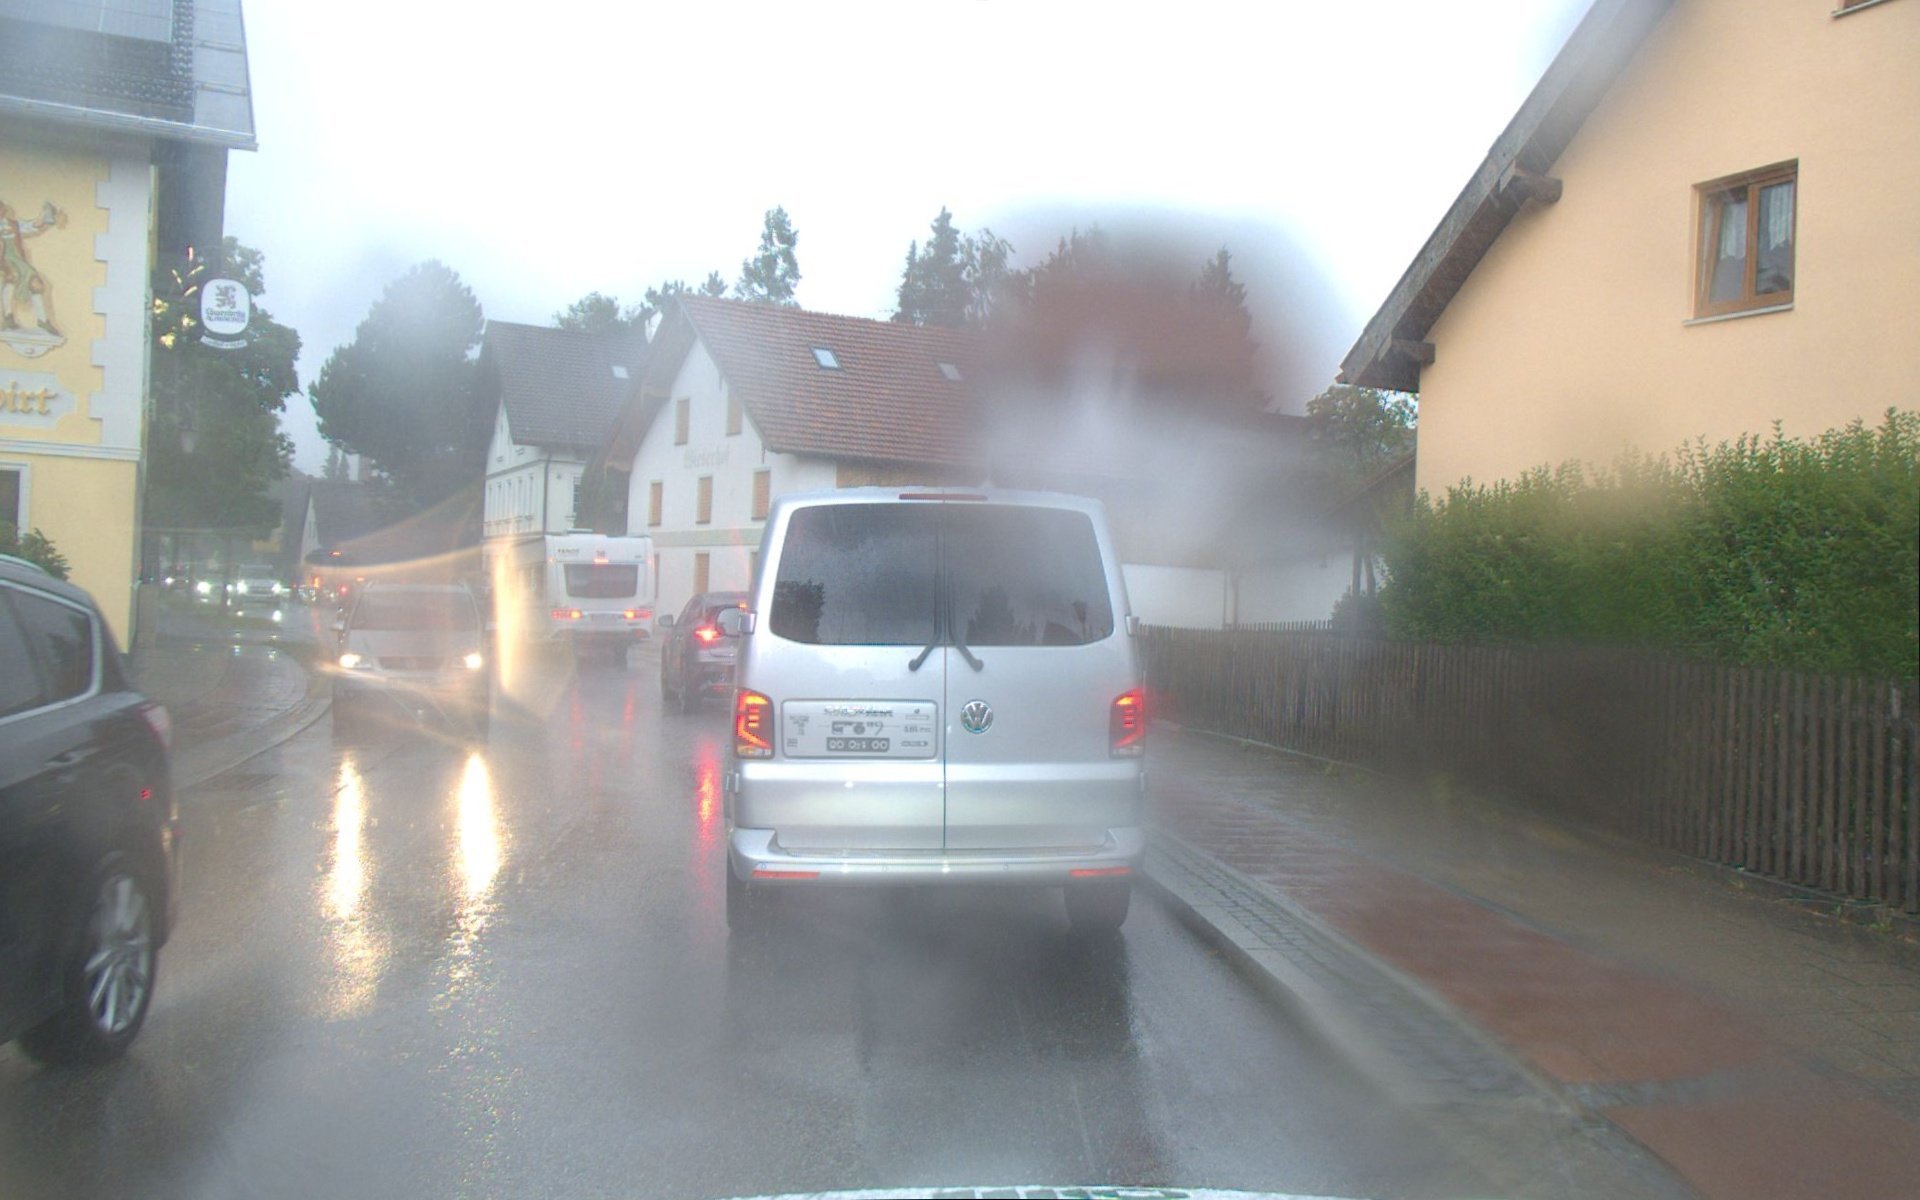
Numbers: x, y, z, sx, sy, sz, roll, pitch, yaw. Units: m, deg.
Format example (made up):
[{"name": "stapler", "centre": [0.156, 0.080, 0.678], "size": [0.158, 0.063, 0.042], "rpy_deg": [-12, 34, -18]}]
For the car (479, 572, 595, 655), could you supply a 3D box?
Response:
[{"name": "car", "centre": [-10.665, 0.320, 41.420], "size": [2.026, 1.932, 5.138], "rpy_deg": [1, 0, -24]}]

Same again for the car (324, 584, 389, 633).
[{"name": "car", "centre": [-26.894, 0.362, 73.658], "size": [2.143, 1.932, 4.972], "rpy_deg": [3, 0, -26]}]

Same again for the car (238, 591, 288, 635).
[{"name": "car", "centre": [-33.068, 0.614, 78.424], "size": [1.829, 2.006, 4.659], "rpy_deg": [0, 0, -27]}]

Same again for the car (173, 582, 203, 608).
[{"name": "car", "centre": [-54.549, -0.355, 116.914], "size": [1.839, 1.788, 4.448], "rpy_deg": [-2, 1, -25]}]

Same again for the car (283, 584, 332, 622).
[{"name": "car", "centre": [-36.833, 0.123, 93.296], "size": [2.143, 1.932, 4.972], "rpy_deg": [3, 0, -26]}]

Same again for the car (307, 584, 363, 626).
[{"name": "car", "centre": [-31.790, 0.241, 83.997], "size": [2.143, 1.932, 4.972], "rpy_deg": [3, 0, -26]}]

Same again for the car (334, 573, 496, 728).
[{"name": "car", "centre": [-6.660, 0.565, 20.483], "size": [1.725, 1.707, 3.982], "rpy_deg": [0, 0, -16]}]

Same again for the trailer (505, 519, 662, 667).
[{"name": "trailer", "centre": [-8.375, -0.144, 36.291], "size": [2.241, 2.955, 6.087], "rpy_deg": [1, 0, -24]}]

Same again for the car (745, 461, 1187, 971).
[{"name": "car", "centre": [-0.108, 0.462, 9.072], "size": [1.741, 1.997, 5.071], "rpy_deg": [0, 0, -3]}]

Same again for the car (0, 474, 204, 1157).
[{"name": "car", "centre": [-3.373, 0.562, 3.602], "size": [1.885, 1.775, 4.186], "rpy_deg": [0, 0, -6]}]

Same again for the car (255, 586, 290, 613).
[{"name": "car", "centre": [-54.424, -0.093, 130.867], "size": [2.143, 1.932, 4.972], "rpy_deg": [3, 0, -26]}]

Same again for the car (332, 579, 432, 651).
[{"name": "car", "centre": [-13.686, 0.342, 39.070], "size": [1.570, 1.638, 3.502], "rpy_deg": [1, 0, -31]}]

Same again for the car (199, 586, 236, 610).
[{"name": "car", "centre": [-45.269, -0.154, 100.806], "size": [1.840, 1.382, 4.444], "rpy_deg": [0, 1, -27]}]

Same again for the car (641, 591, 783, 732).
[{"name": "car", "centre": [-3.402, 0.729, 22.314], "size": [1.677, 1.611, 4.674], "rpy_deg": [-1, 1, -10]}]
